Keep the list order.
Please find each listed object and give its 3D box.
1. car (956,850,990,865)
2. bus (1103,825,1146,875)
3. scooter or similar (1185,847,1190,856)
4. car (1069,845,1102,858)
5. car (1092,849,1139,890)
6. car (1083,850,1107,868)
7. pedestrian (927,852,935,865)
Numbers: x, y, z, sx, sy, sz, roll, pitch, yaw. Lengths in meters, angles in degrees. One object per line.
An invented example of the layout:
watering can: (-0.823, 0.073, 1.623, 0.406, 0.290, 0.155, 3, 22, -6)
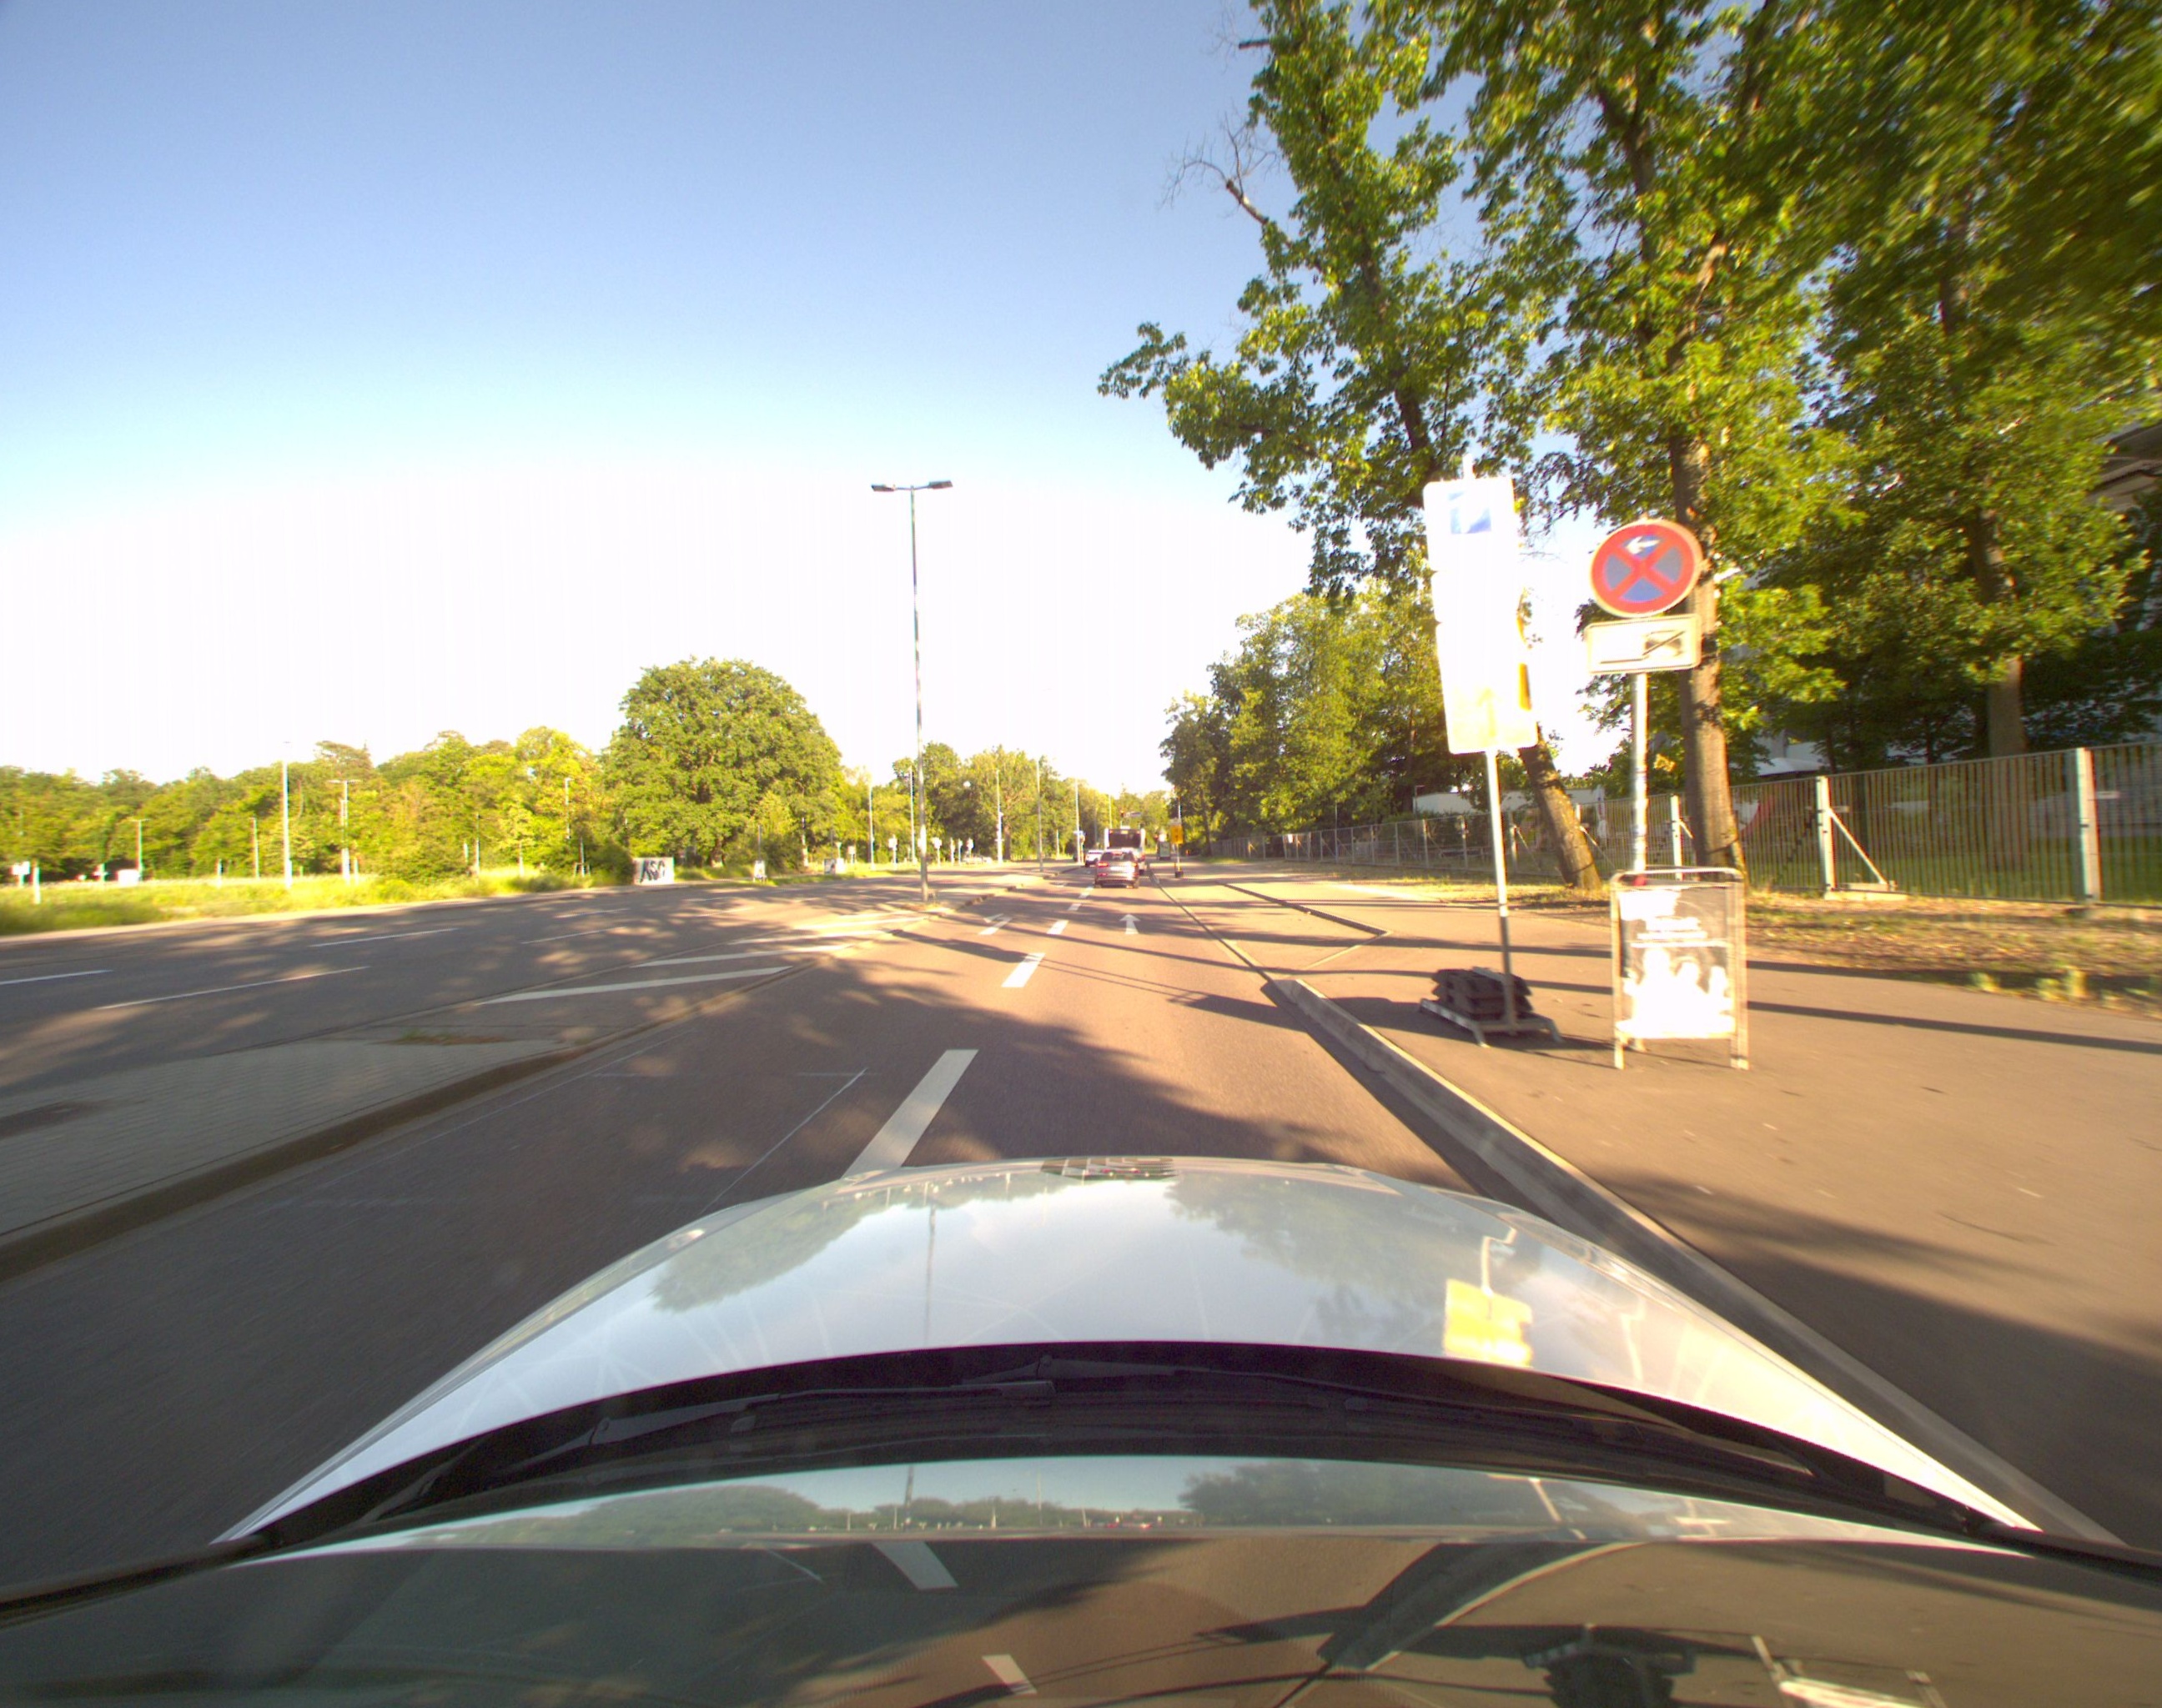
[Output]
car: (-13.461, 0.385, 101.684, 3.983, 1.640, 2.061, -3, 0, -7)
bus: (2.988, -0.238, 54.279, 2.583, 2.989, 9.337, 0, 0, 4)
scooter or similar: (17.389, -0.394, 133.011, 0.506, 1.444, 2.022, -2, 0, -1)
car: (0.626, -0.316, 109.204, 2.077, 1.585, 4.258, -3, 1, 42)
car: (1.540, 0.626, 35.380, 1.890, 1.632, 4.005, 0, 1, 4)
car: (1.292, 0.386, 73.265, 1.828, 1.518, 4.005, -1, 0, 4)
pedestrian: (-17.855, 0.540, 96.785, 0.652, 1.560, 0.533, -2, 0, -38)
